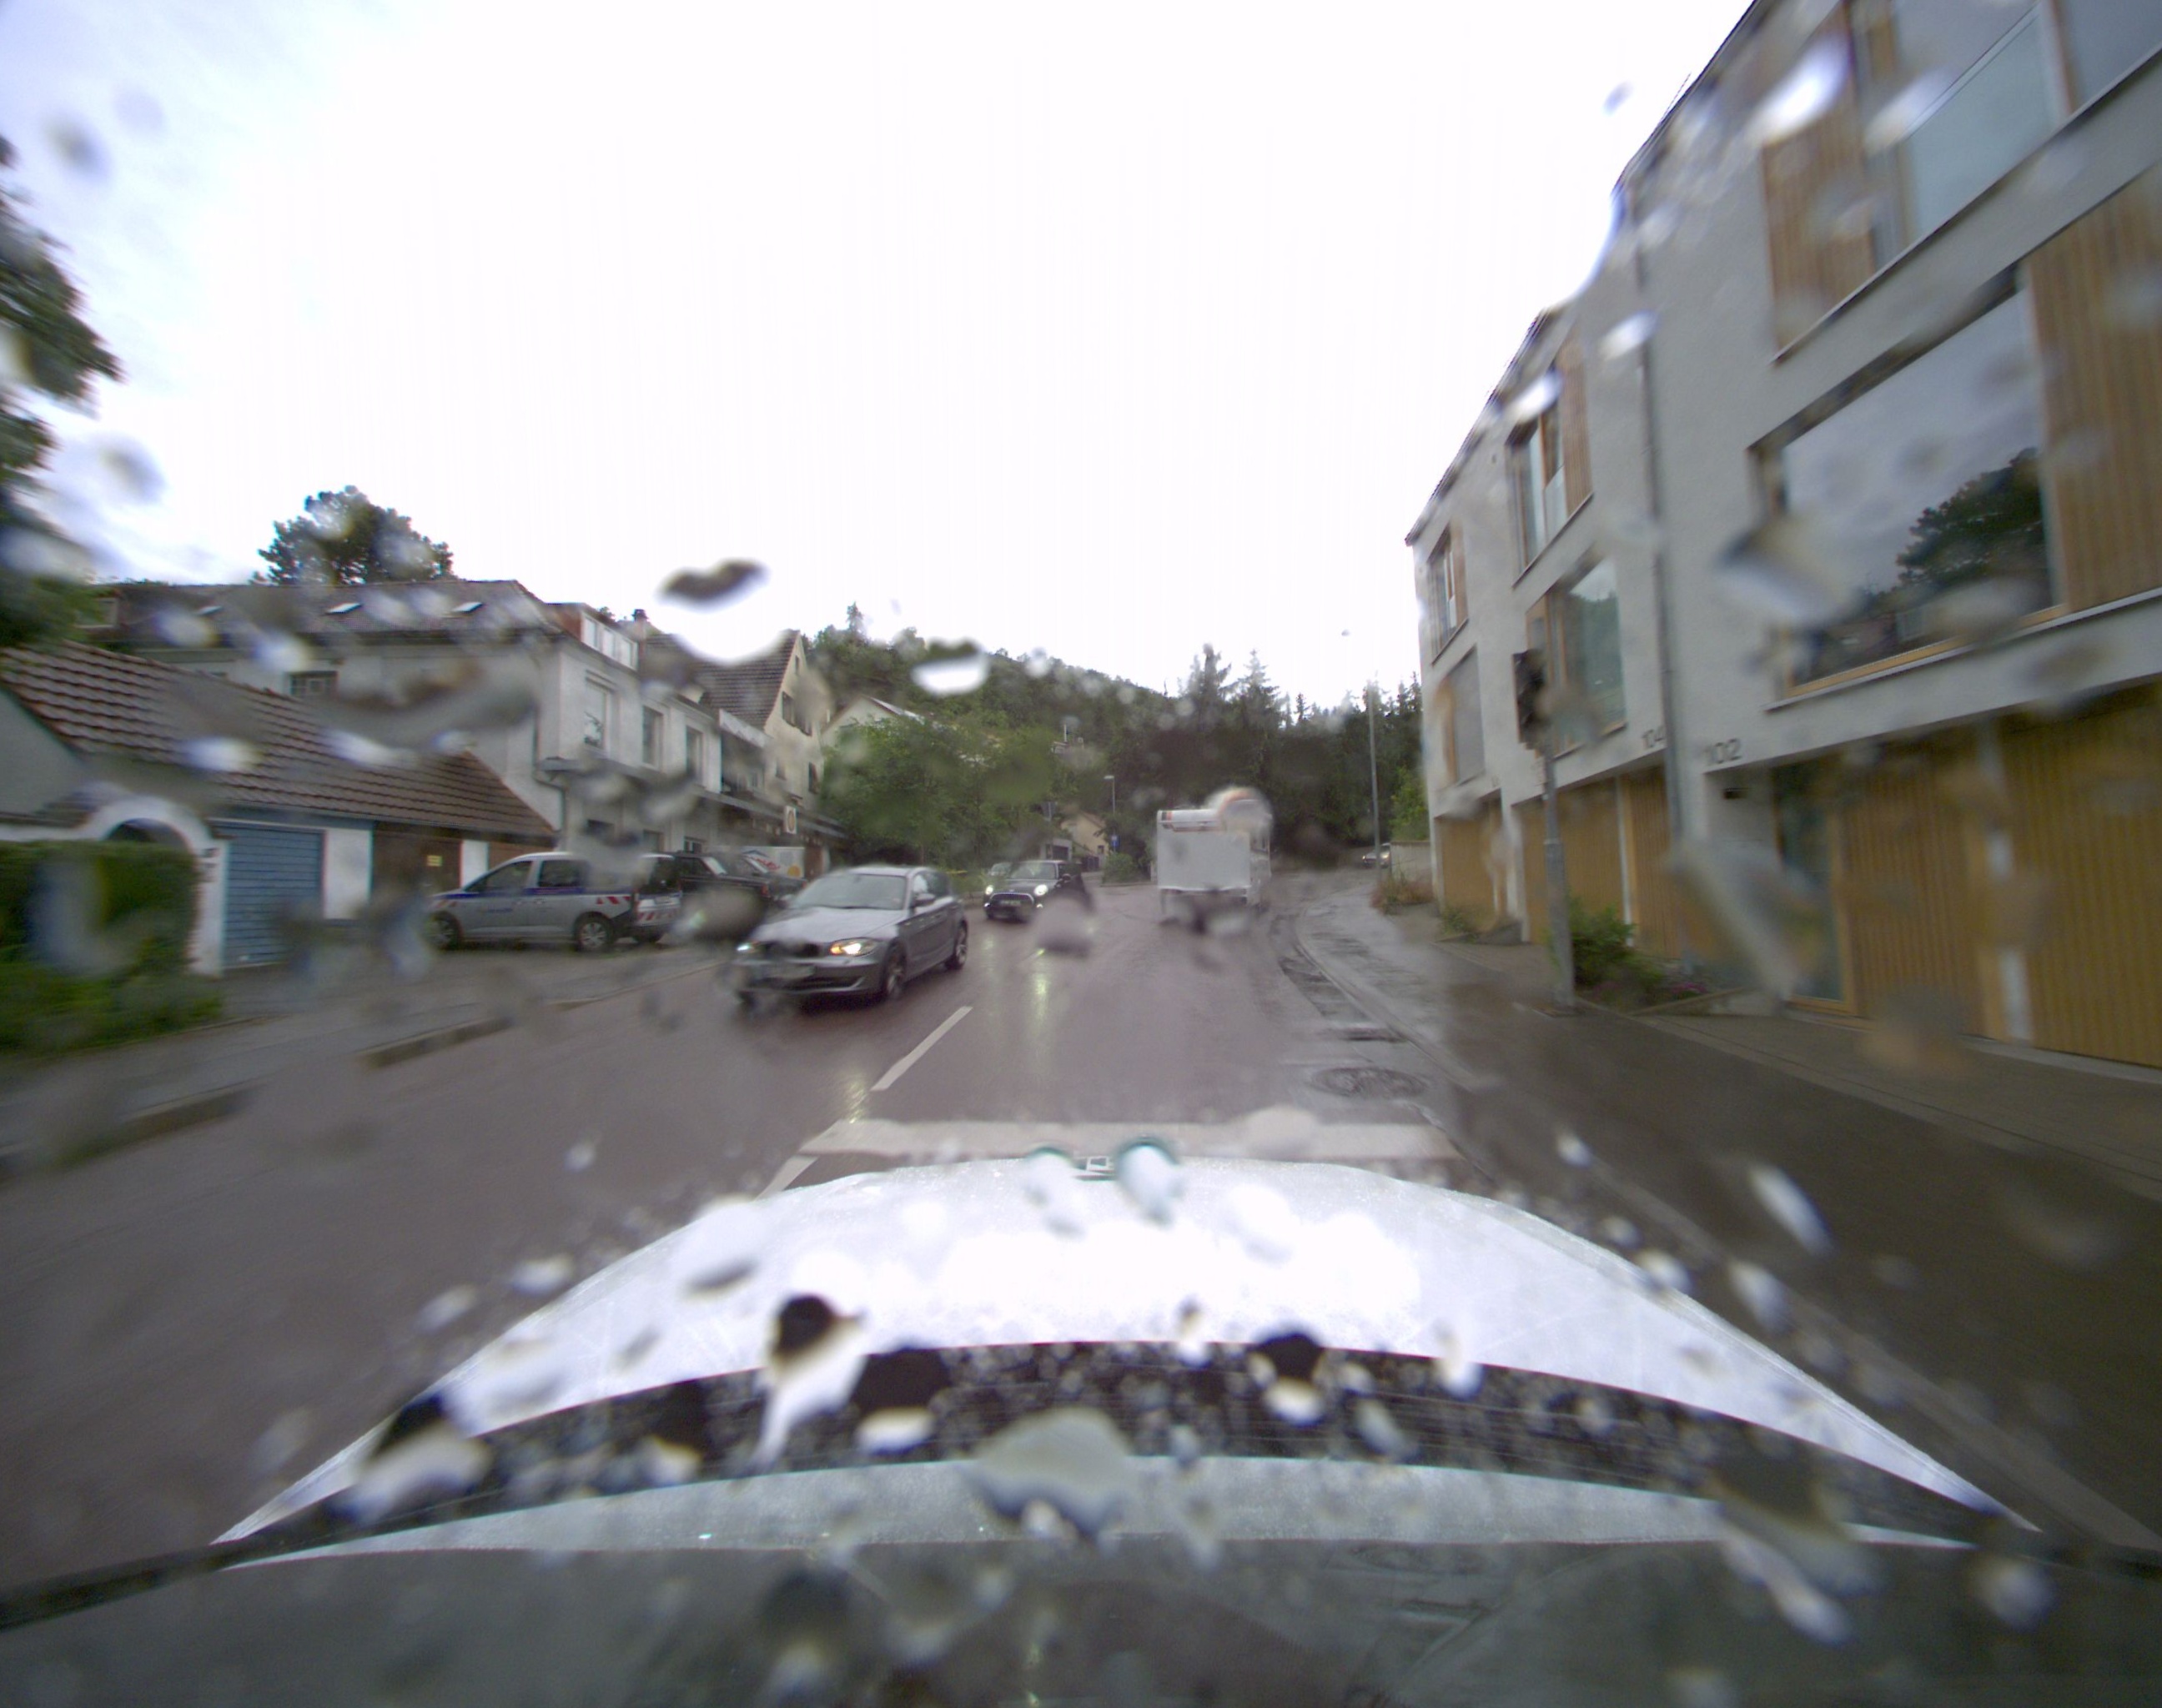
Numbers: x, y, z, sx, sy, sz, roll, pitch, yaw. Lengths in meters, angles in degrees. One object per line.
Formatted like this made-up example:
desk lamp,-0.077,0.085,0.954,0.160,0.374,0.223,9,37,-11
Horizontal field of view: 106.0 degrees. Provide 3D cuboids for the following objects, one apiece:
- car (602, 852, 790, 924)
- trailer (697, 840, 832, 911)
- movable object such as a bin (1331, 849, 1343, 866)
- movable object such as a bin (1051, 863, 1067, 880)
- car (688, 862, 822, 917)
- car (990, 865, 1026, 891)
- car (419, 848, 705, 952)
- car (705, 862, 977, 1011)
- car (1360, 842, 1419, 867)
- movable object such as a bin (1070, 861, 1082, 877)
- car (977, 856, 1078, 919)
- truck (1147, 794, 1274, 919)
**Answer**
car,-9.945,0.855,21.315,4.076,1.774,1.793,0,-1,-10
trailer,-10.399,0.681,26.876,3.964,2.102,1.939,-2,-1,-23
movable object such as a bin,15.949,0.219,50.777,0.493,0.979,0.496,-3,1,-39
movable object such as a bin,-1.556,1.255,57.705,0.845,1.198,0.937,-1,0,18
car,-9.432,0.988,23.825,3.336,1.485,1.832,-1,0,-11
car,-4.017,1.317,45.160,1.538,1.330,3.749,-1,0,2
car,-9.638,0.811,15.377,4.090,1.800,2.001,-1,0,2
car,-2.631,0.832,9.984,1.810,1.422,3.907,-1,0,6
car,18.756,0.016,49.386,4.260,1.413,1.581,-1,0,-42
movable object such as a bin,-0.385,1.176,64.179,0.699,1.222,0.594,-1,0,21
car,-1.212,0.772,20.161,1.666,1.405,3.687,-1,0,9
truck,3.631,0.065,21.605,2.496,2.817,6.228,-1,0,16
